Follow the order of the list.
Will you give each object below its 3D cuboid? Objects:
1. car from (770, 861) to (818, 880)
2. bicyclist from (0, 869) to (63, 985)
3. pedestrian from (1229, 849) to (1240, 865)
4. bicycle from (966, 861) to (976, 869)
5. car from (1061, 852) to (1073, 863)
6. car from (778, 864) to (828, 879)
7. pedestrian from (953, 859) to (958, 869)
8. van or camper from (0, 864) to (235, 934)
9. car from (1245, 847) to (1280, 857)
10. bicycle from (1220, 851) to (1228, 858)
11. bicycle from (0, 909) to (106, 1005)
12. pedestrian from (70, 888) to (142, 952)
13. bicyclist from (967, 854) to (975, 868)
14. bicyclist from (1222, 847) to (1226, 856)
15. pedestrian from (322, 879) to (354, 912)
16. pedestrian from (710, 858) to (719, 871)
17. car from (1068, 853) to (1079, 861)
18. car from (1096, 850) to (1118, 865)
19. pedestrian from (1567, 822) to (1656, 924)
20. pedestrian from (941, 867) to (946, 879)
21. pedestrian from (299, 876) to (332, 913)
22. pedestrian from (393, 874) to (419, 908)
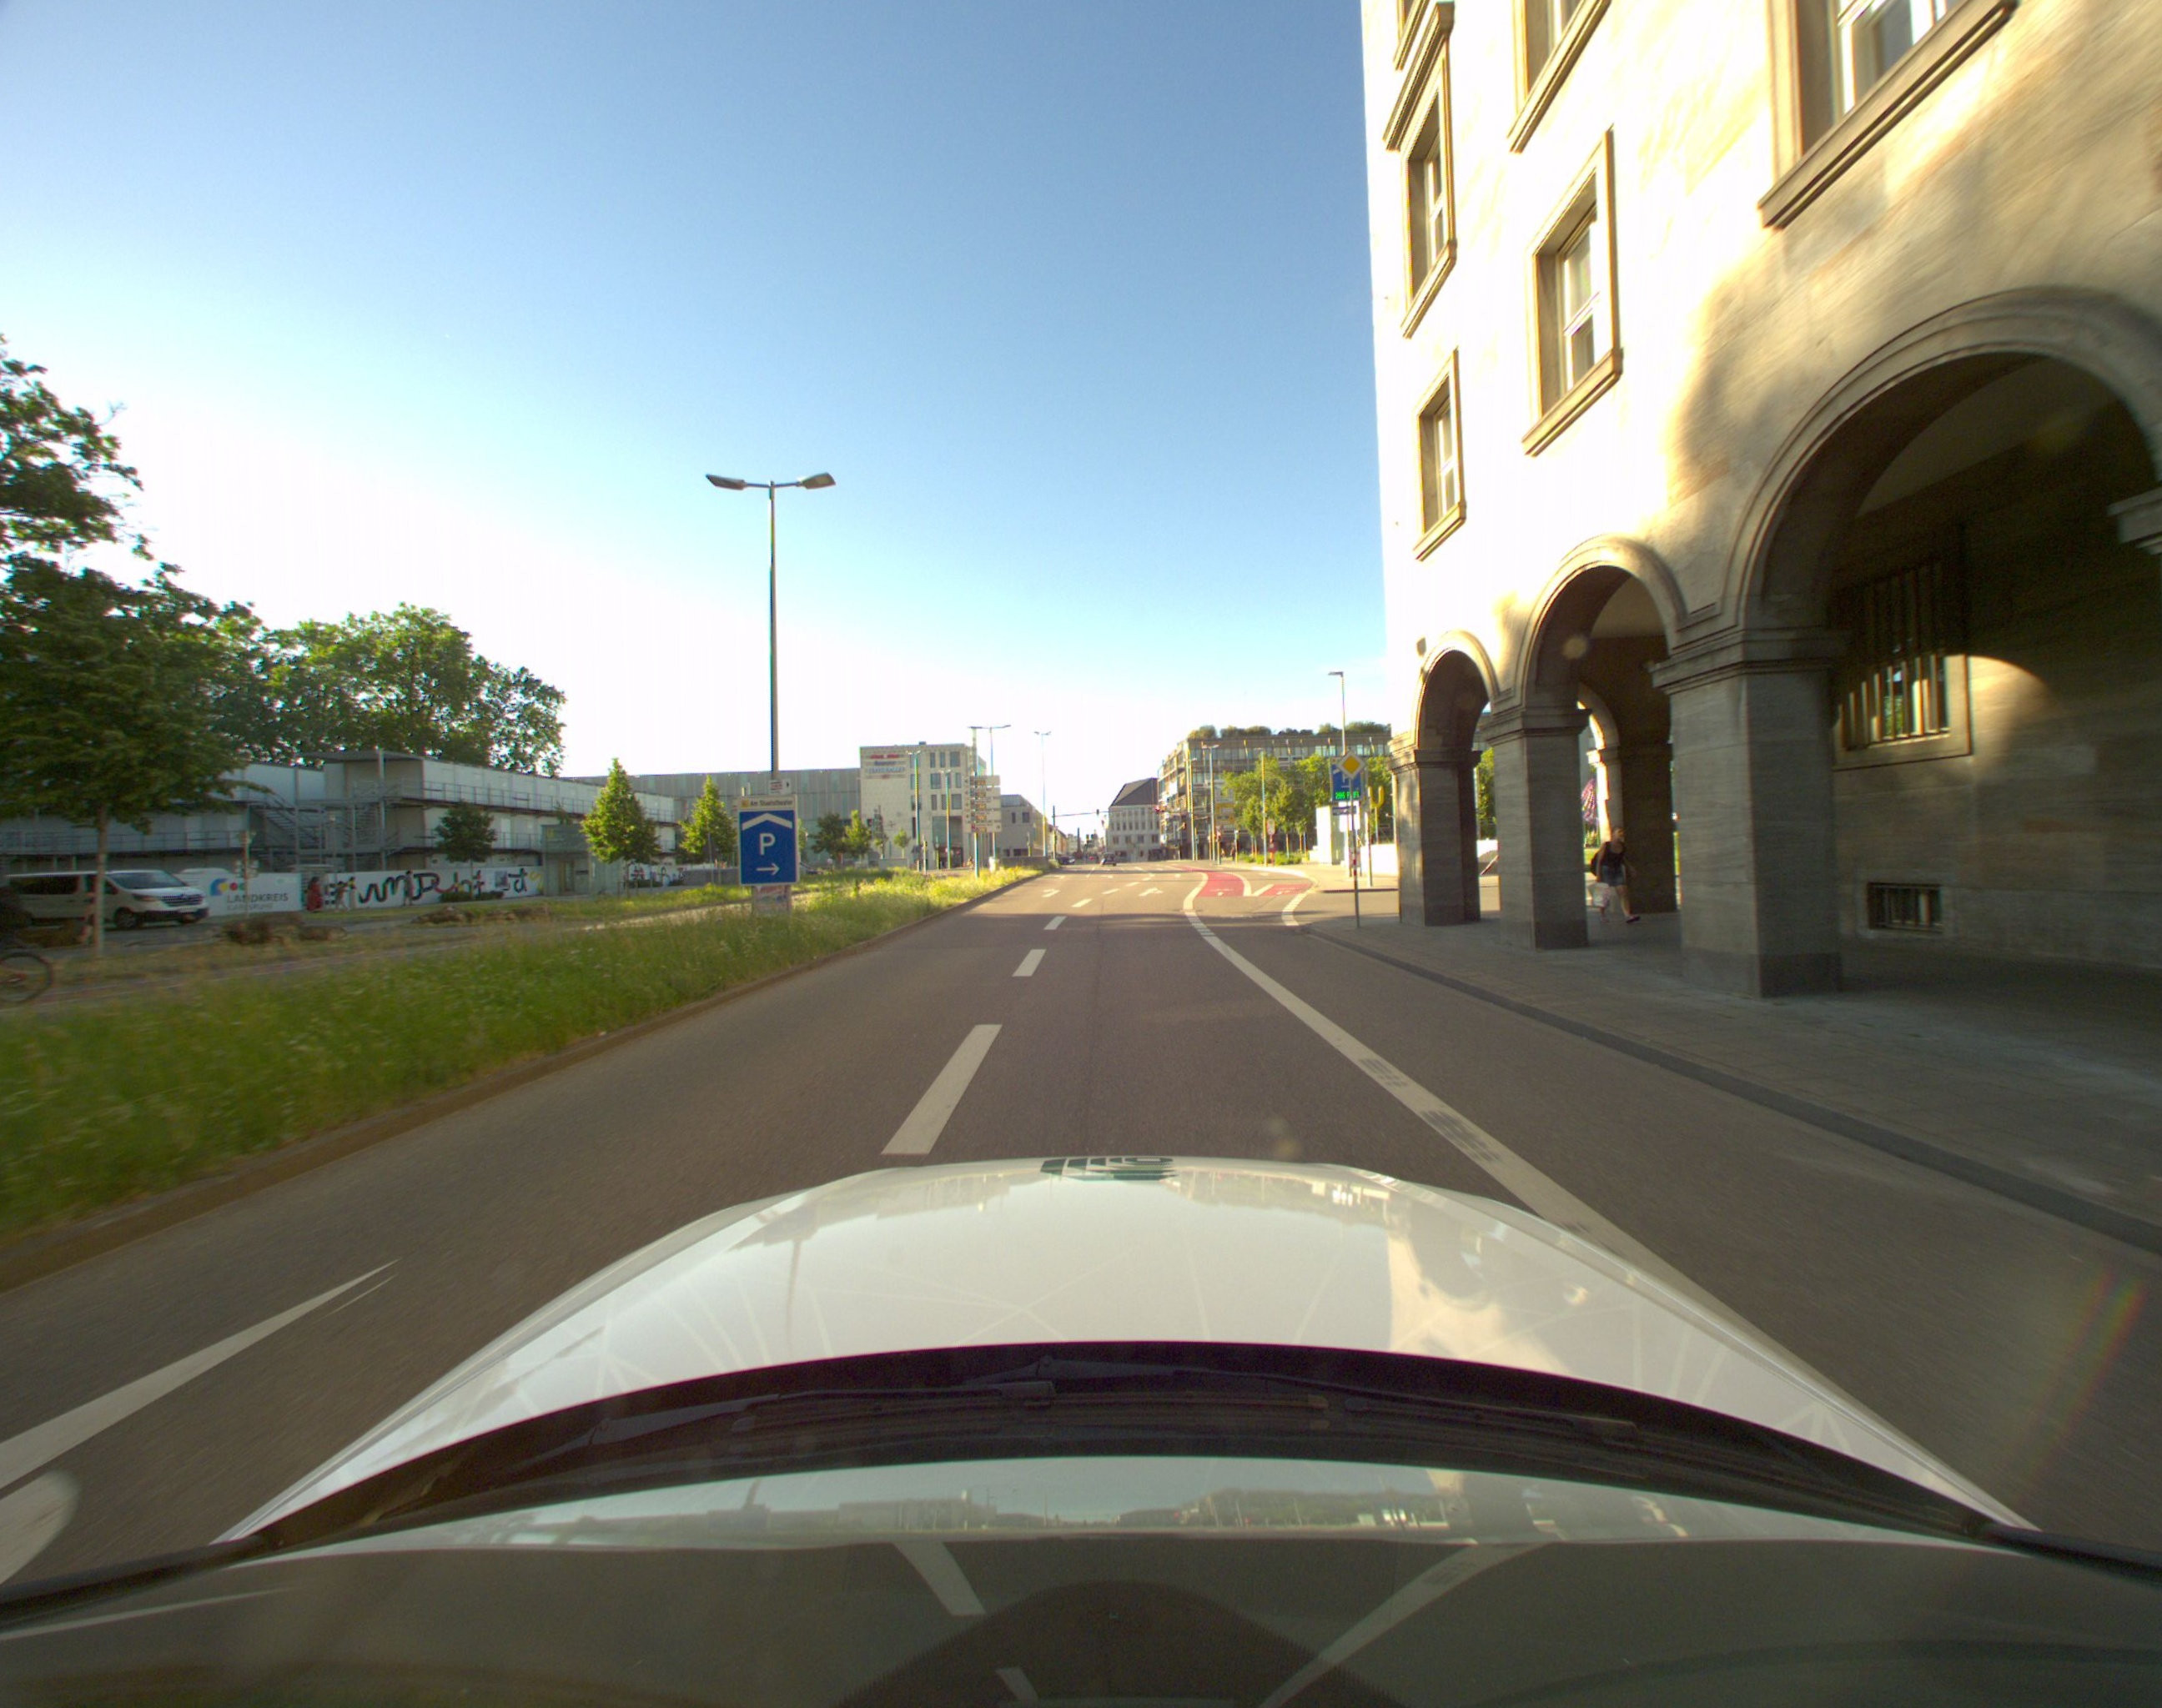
[{"bbox_3d":[-31.602,1.819,89.807,4.634,1.810,1.868,-3,-2,-6],"label":"car"},{"bbox_3d":[-15.250,1.019,11.286,0.744,1.590,1.202,-3,-2,2],"label":"bicyclist"},{"bbox_3d":[16.584,0.328,87.900,0.814,1.748,1.047,-3,-1,23],"label":"pedestrian"},{"bbox_3d":[-12.171,1.229,90.043,0.608,0.861,1.955,-2,0,7],"label":"bicycle"},{"bbox_3d":[-2.520,0.663,146.054,1.986,1.742,4.648,-2,1,2],"label":"car"},{"bbox_3d":[-29.235,1.849,85.790,4.634,1.375,1.868,-3,-2,-6],"label":"car"},{"bbox_3d":[-20.436,1.653,132.817,0.620,1.608,0.654,-2,0,1],"label":"pedestrian"},{"bbox_3d":[-32.516,1.493,27.492,5.640,2.014,2.259,-3,-2,2],"label":"van or camper"},{"bbox_3d":[26.548,-0.309,119.207,4.618,1.356,1.999,-2,1,-2],"label":"car"},{"bbox_3d":[21.145,0.115,120.320,1.071,0.971,0.458,-2,0,4],"label":"bicycle"},{"bbox_3d":[-15.232,1.452,11.255,0.755,1.275,2.259,-3,-2,2],"label":"bicycle"},{"bbox_3d":[-24.765,1.655,20.695,0.609,1.527,0.944,-2,0,7],"label":"pedestrian"},{"bbox_3d":[-12.180,0.746,90.024,0.604,1.489,0.682,-2,0,7],"label":"bicyclist"},{"bbox_3d":[21.182,-0.324,120.324,0.506,1.338,0.453,-2,0,4],"label":"bicyclist"},{"bbox_3d":[-32.923,1.847,36.109,0.577,1.378,0.835,-2,0,0],"label":"pedestrian"},{"bbox_3d":[-44.020,1.236,97.776,0.799,1.502,0.723,-2,0,-6],"label":"pedestrian"},{"bbox_3d":[-1.412,0.601,161.870,1.986,1.356,4.648,-2,1,1],"label":"car"},{"bbox_3d":[2.903,0.358,92.170,1.775,1.564,3.778,-2,0,-9],"label":"car"},{"bbox_3d":[8.612,0.295,13.258,0.774,1.569,0.952,-2,0,0],"label":"pedestrian"},{"bbox_3d":[-22.576,3.090,133.851,0.622,2.013,0.515,-2,0,-7],"label":"pedestrian"},{"bbox_3d":[-33.622,1.775,35.785,0.577,1.558,0.835,-2,0,0],"label":"pedestrian"},{"bbox_3d":[-34.159,1.861,41.218,0.577,1.688,0.835,-2,0,0],"label":"pedestrian"}]
